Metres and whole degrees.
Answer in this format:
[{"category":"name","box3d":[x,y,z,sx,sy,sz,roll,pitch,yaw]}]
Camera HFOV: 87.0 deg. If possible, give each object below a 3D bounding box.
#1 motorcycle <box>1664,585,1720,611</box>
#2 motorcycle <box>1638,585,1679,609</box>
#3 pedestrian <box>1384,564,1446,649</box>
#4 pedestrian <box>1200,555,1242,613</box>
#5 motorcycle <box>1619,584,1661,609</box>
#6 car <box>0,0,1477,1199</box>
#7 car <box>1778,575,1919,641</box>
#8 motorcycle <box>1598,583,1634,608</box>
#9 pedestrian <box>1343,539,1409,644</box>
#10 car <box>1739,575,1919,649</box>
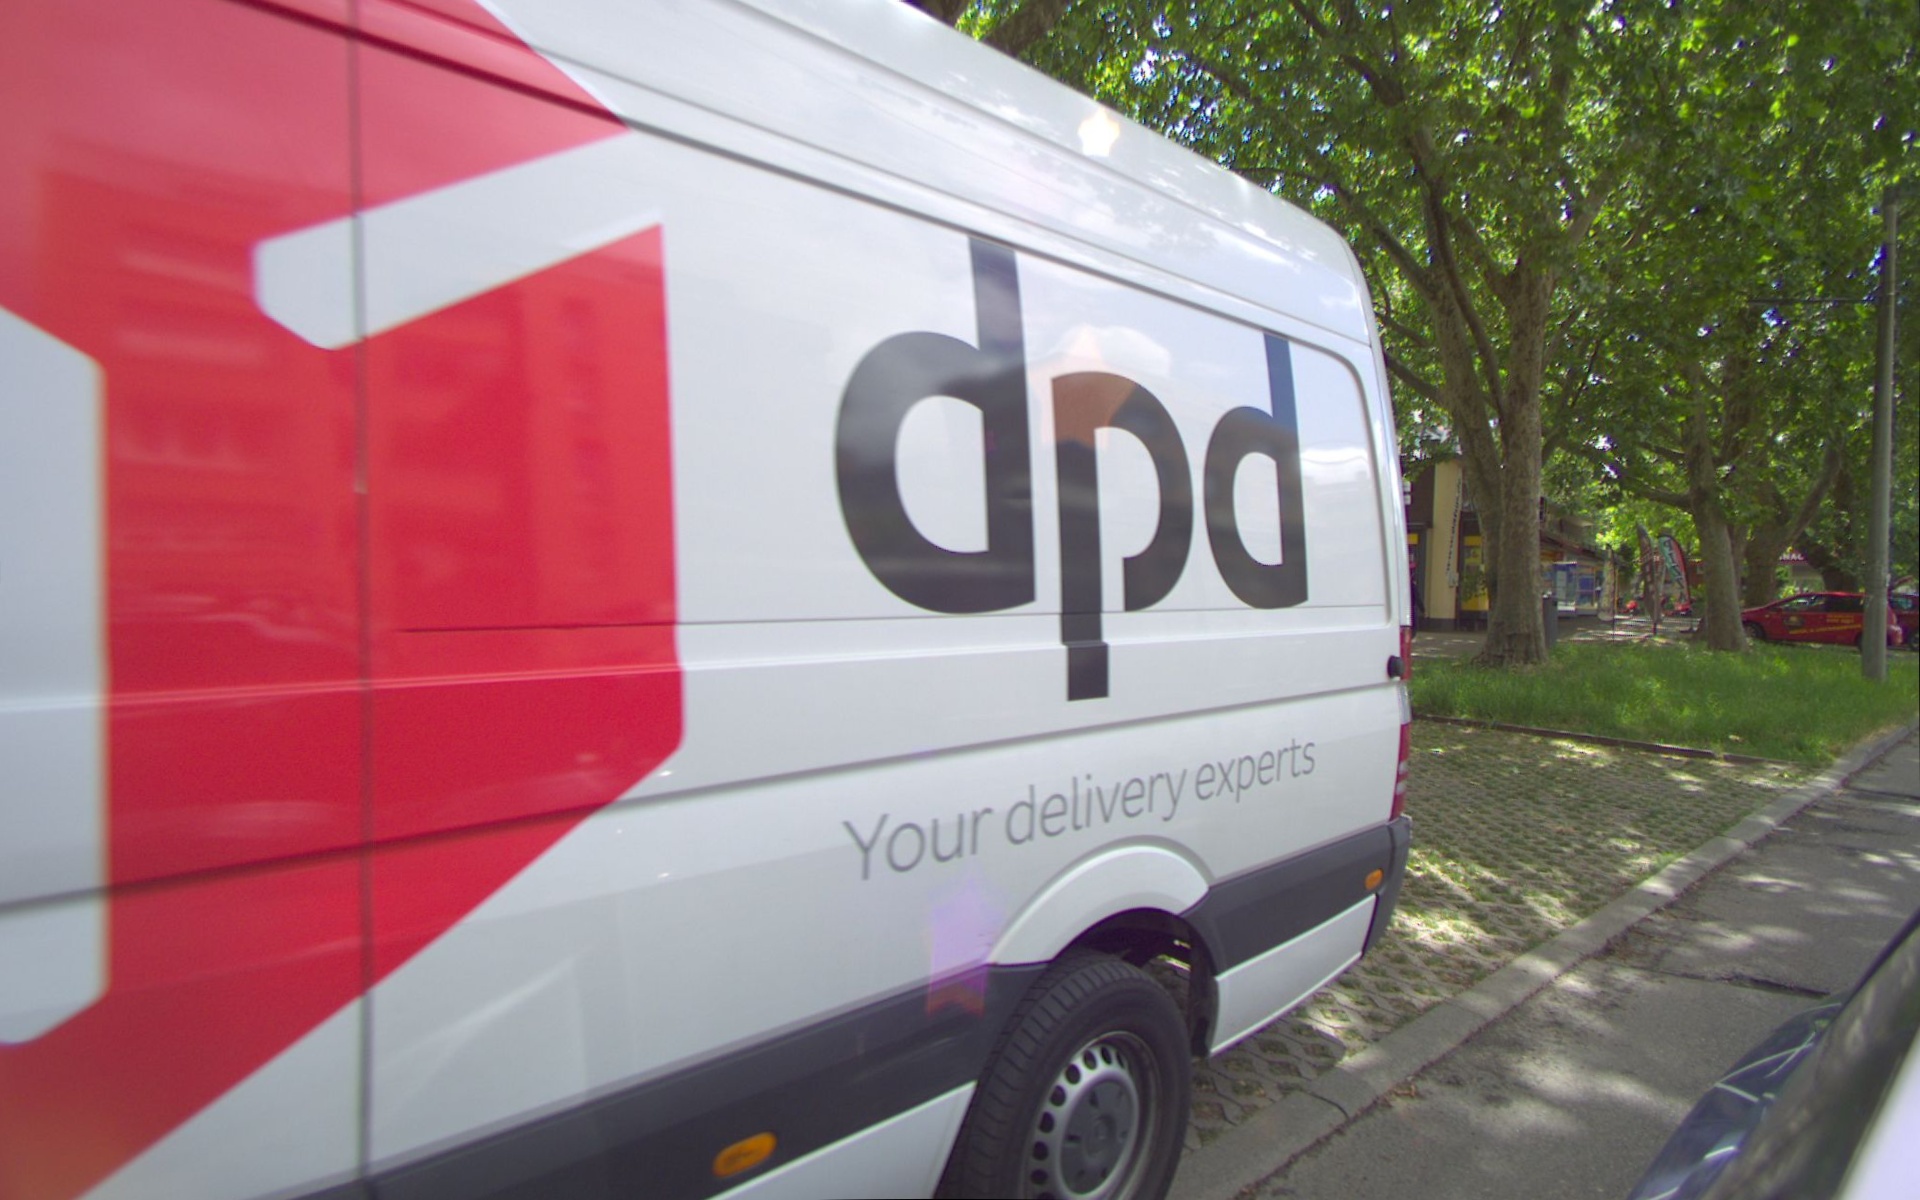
[{"category":"motorcycle","box3d":[37.089,-0.112,51.308,0.725,1.210,2.140,1,2,-32]},{"category":"motorcycle","box3d":[37.122,-0.183,53.825,0.726,1.210,2.138,2,1,2]},{"category":"pedestrian","box3d":[8.113,0.108,18.029,1.011,1.465,0.626,0,1,-41]},{"category":"pedestrian","box3d":[7.144,-0.447,27.701,0.749,1.554,0.894,2,1,42]},{"category":"motorcycle","box3d":[35.668,-0.210,53.124,0.726,1.210,2.138,2,2,1]},{"category":"car","box3d":[-1.681,0.046,1.487,6.714,2.612,1.908,0,3,-41]},{"category":"car","box3d":[25.640,0.213,28.263,1.699,1.631,4.041,1,3,-38]},{"category":"motorcycle","box3d":[34.798,-0.245,53.721,0.727,1.210,2.134,2,2,8]},{"category":"pedestrian","box3d":[7.873,-0.176,19.142,0.925,1.906,0.745,0,3,-41]},{"category":"car","box3d":[22.138,0.253,25.757,1.584,1.533,3.411,0,5,-44]}]
